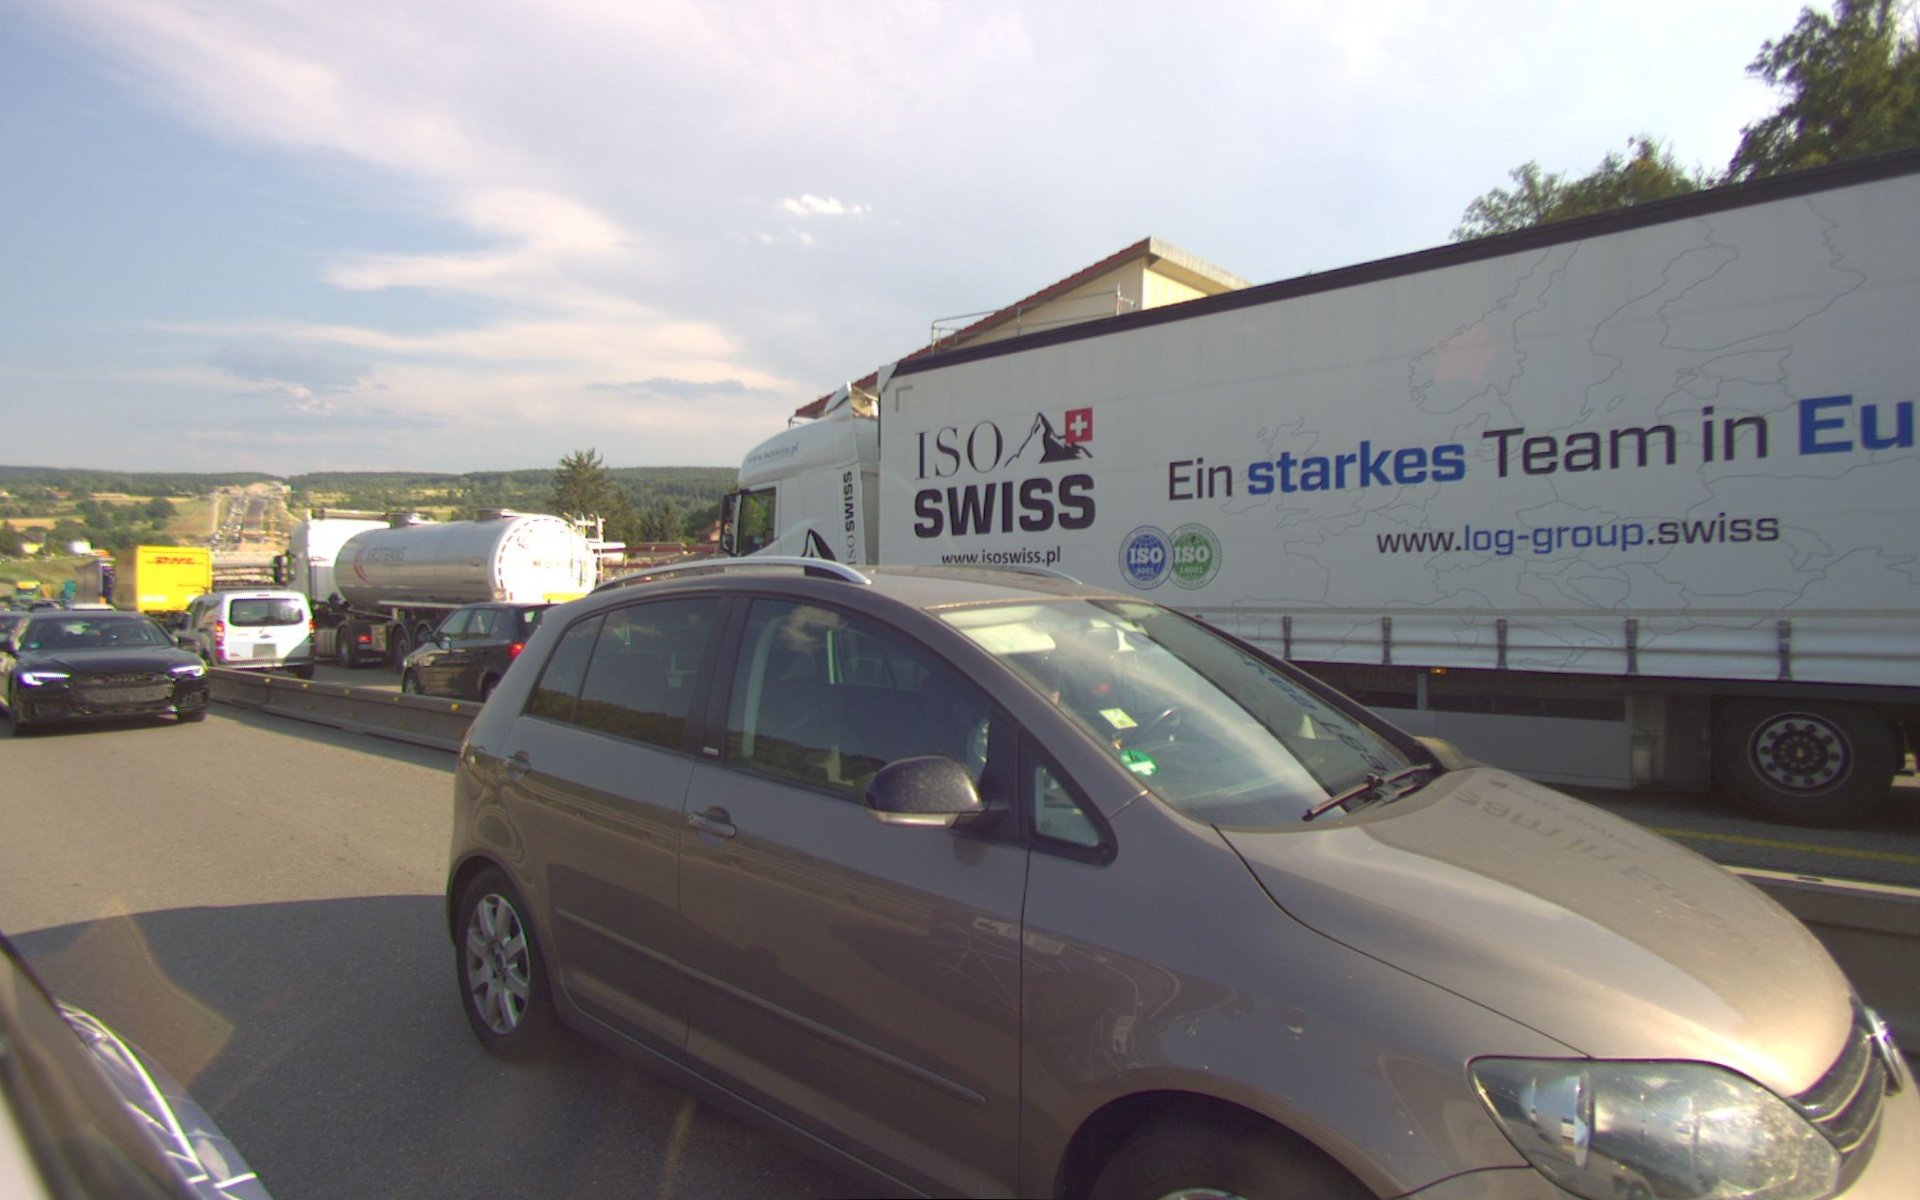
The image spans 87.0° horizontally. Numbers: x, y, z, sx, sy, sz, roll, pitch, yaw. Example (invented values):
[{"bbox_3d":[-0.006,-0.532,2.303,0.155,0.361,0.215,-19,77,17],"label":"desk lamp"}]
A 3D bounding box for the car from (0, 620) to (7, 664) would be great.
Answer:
[{"bbox_3d":[-29.765,1.231,30.169,3.998,1.256,1.607,0,0,41],"label":"car"}]

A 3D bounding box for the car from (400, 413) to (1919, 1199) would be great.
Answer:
[{"bbox_3d":[0.175,0.607,2.791,4.097,1.585,1.666,-1,0,40],"label":"car"}]

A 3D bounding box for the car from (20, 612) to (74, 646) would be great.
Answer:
[{"bbox_3d":[-44.181,1.368,48.928,4.002,1.541,1.734,0,0,45],"label":"car"}]

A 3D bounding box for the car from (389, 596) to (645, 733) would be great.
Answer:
[{"bbox_3d":[-5.843,0.741,13.181,3.688,1.521,1.640,-1,0,41],"label":"car"}]

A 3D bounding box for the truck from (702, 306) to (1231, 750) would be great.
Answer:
[{"bbox_3d":[-0.171,-0.640,12.343,6.098,4.066,2.814,-1,0,41],"label":"truck"}]

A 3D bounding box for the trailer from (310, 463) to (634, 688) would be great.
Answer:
[{"bbox_3d":[-11.067,-0.394,22.079,10.574,3.910,2.569,-1,0,42],"label":"trailer"}]

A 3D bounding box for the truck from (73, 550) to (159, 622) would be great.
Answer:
[{"bbox_3d":[-49.452,-0.750,59.198,9.492,3.913,2.861,0,0,44],"label":"truck"}]

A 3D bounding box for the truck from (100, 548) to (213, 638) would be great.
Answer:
[{"bbox_3d":[-36.926,-0.313,46.365,9.492,3.738,2.861,0,0,44],"label":"truck"}]

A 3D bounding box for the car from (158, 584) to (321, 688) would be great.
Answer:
[{"bbox_3d":[-14.756,0.674,20.647,3.998,1.925,1.843,0,-1,41],"label":"car"}]

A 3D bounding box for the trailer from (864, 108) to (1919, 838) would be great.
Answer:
[{"bbox_3d":[5.116,-0.700,7.719,13.963,4.066,2.828,-1,0,41],"label":"trailer"}]

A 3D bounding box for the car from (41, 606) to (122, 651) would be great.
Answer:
[{"bbox_3d":[-32.125,1.007,36.961,3.998,1.541,1.707,0,0,41],"label":"car"}]

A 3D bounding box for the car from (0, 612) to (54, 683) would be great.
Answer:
[{"bbox_3d":[-21.021,1.018,21.877,3.999,1.409,1.676,-2,1,42],"label":"car"}]

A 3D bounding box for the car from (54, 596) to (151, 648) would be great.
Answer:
[{"bbox_3d":[-26.021,0.655,30.660,4.001,1.423,1.774,0,-3,44],"label":"car"}]

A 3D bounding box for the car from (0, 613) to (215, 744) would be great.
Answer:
[{"bbox_3d":[-11.276,0.887,13.076,3.998,1.409,1.843,0,-1,41],"label":"car"}]

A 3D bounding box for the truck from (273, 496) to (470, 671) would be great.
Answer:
[{"bbox_3d":[-15.025,-0.347,25.650,6.201,3.917,2.572,-1,0,42],"label":"truck"}]
